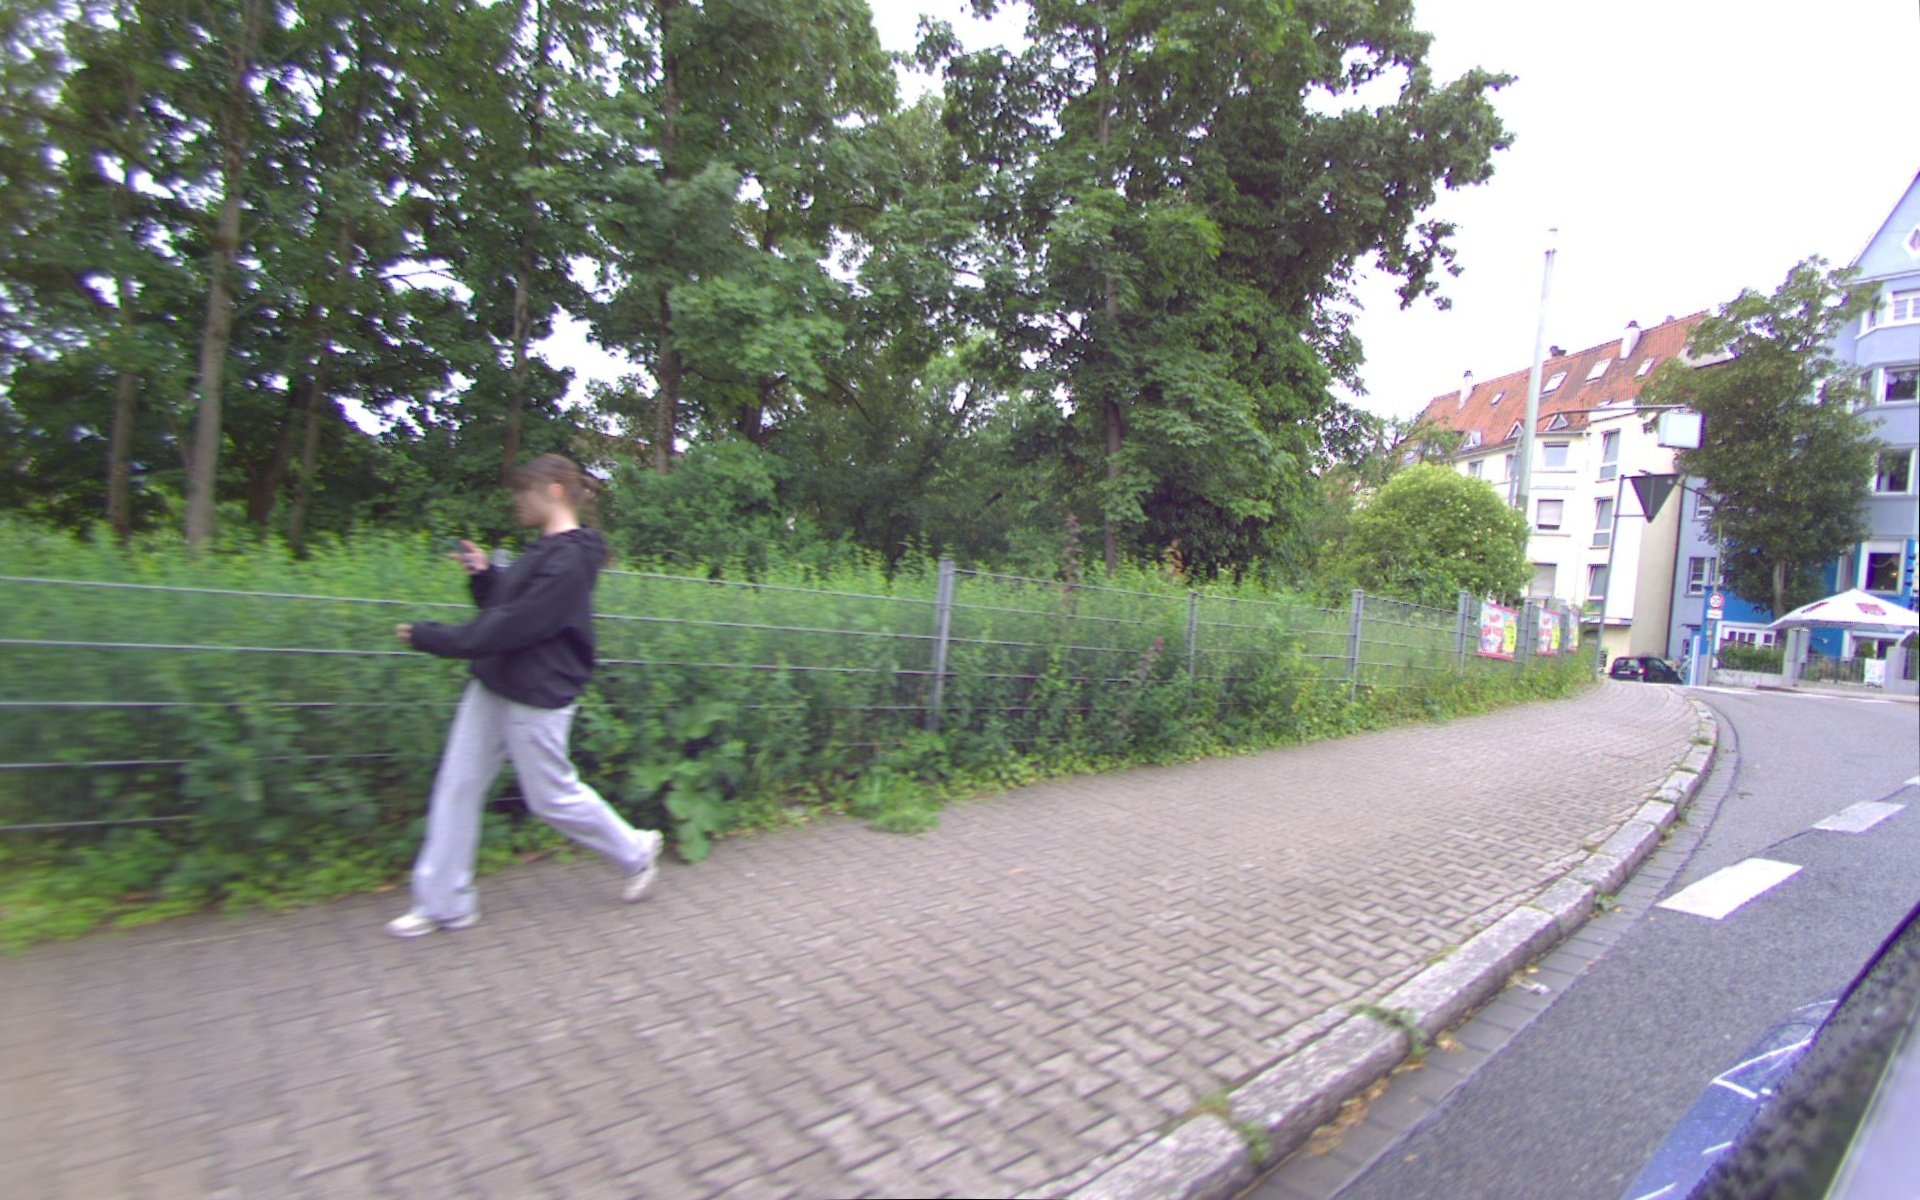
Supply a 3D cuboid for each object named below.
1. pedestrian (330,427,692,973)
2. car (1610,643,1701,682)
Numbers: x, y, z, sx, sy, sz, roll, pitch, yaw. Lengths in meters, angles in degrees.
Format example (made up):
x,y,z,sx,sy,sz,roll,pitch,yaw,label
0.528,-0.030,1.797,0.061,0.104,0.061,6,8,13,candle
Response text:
x,y,z,sx,sy,sz,roll,pitch,yaw,label
-1.596,0.271,3.584,0.949,1.624,0.768,0,5,-41,pedestrian
28.863,2.602,42.031,3.076,1.518,1.642,2,-4,-22,car
